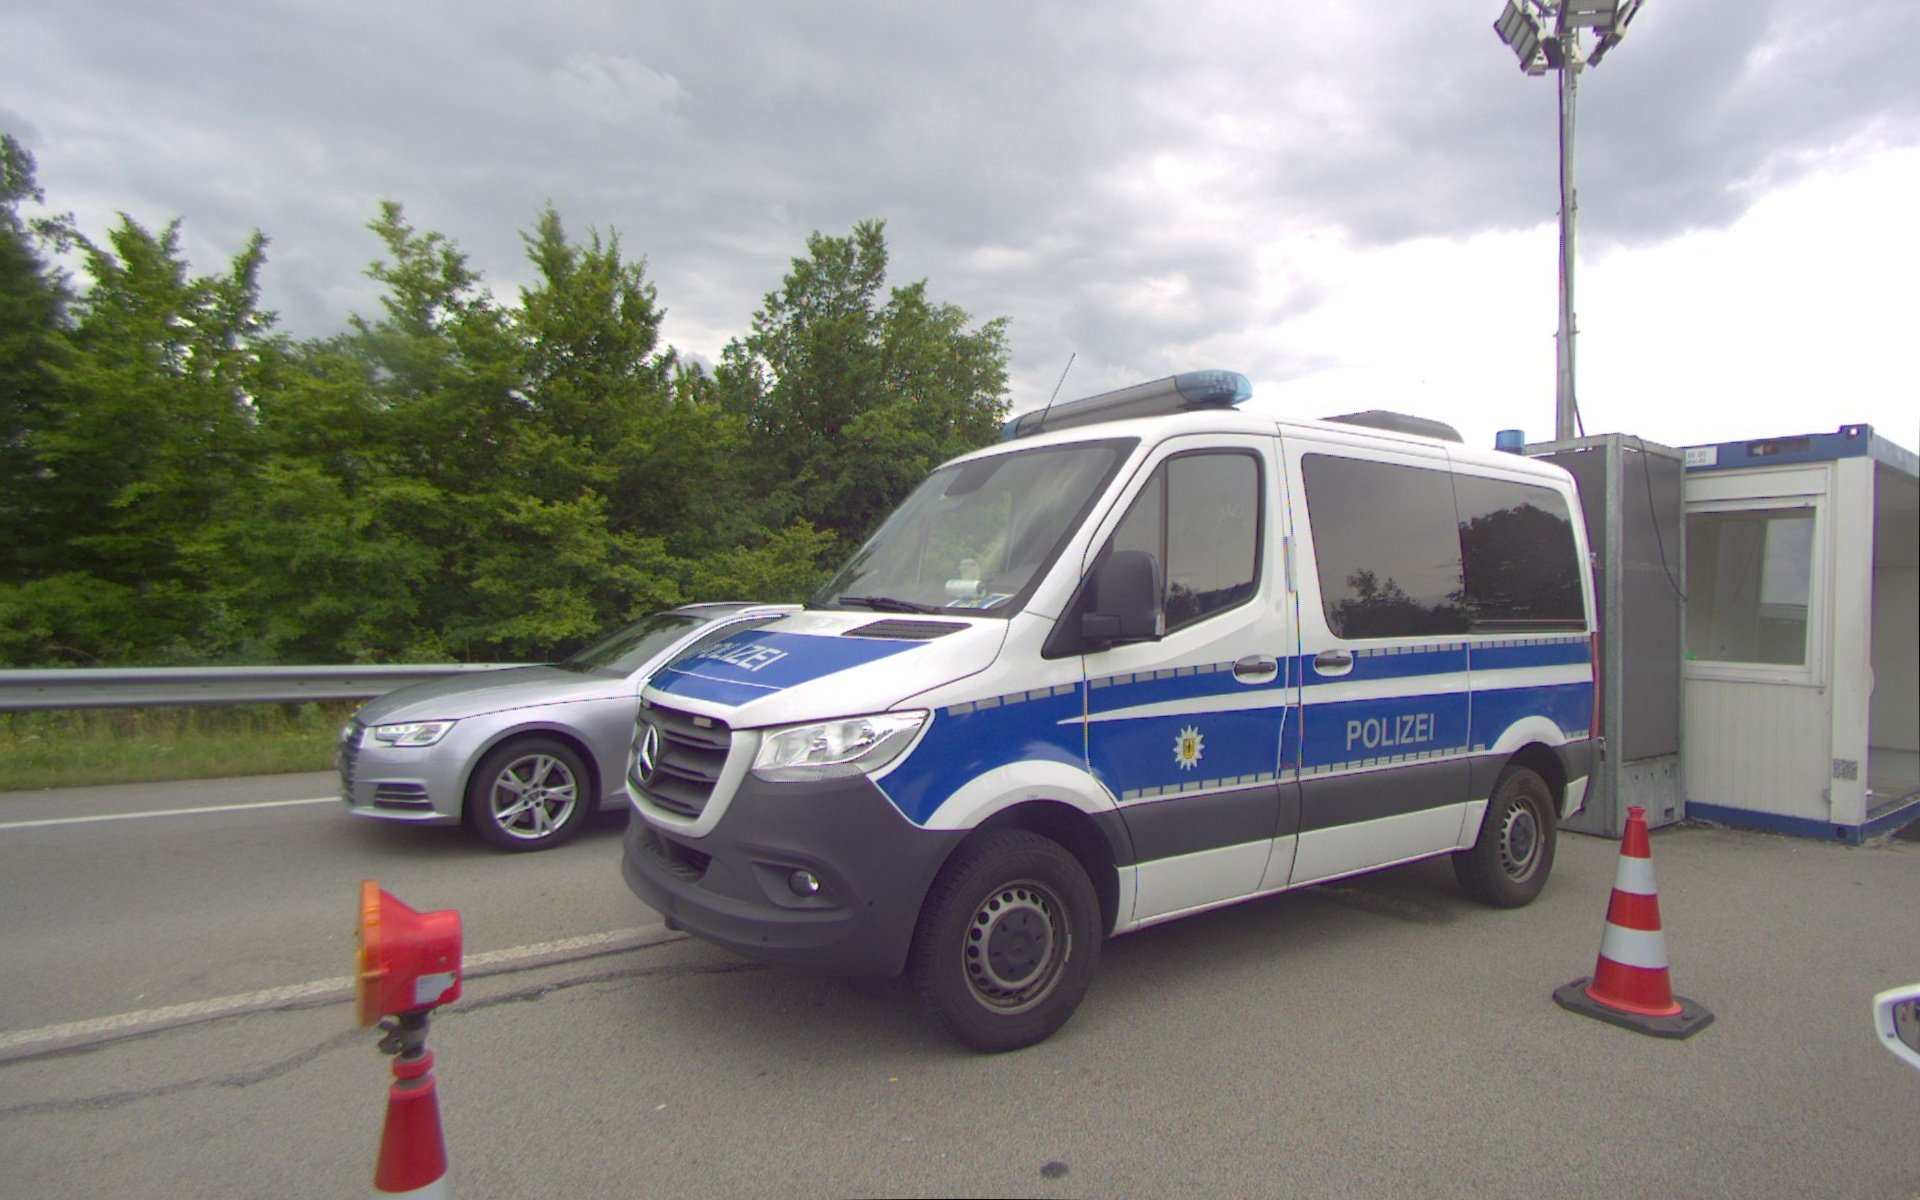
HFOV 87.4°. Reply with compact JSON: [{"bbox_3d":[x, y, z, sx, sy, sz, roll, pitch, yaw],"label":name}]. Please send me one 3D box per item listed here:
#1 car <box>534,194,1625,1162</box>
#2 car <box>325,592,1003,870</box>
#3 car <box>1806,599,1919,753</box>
[{"bbox_3d":[0.920,0.249,4.902,5.224,2.496,2.016,1,0,-34],"label":"car"},{"bbox_3d":[-1.879,0.712,7.167,4.336,1.420,1.665,1,0,-39],"label":"car"},{"bbox_3d":[12.660,0.920,12.825,3.967,1.767,1.857,1,0,-34],"label":"car"}]
